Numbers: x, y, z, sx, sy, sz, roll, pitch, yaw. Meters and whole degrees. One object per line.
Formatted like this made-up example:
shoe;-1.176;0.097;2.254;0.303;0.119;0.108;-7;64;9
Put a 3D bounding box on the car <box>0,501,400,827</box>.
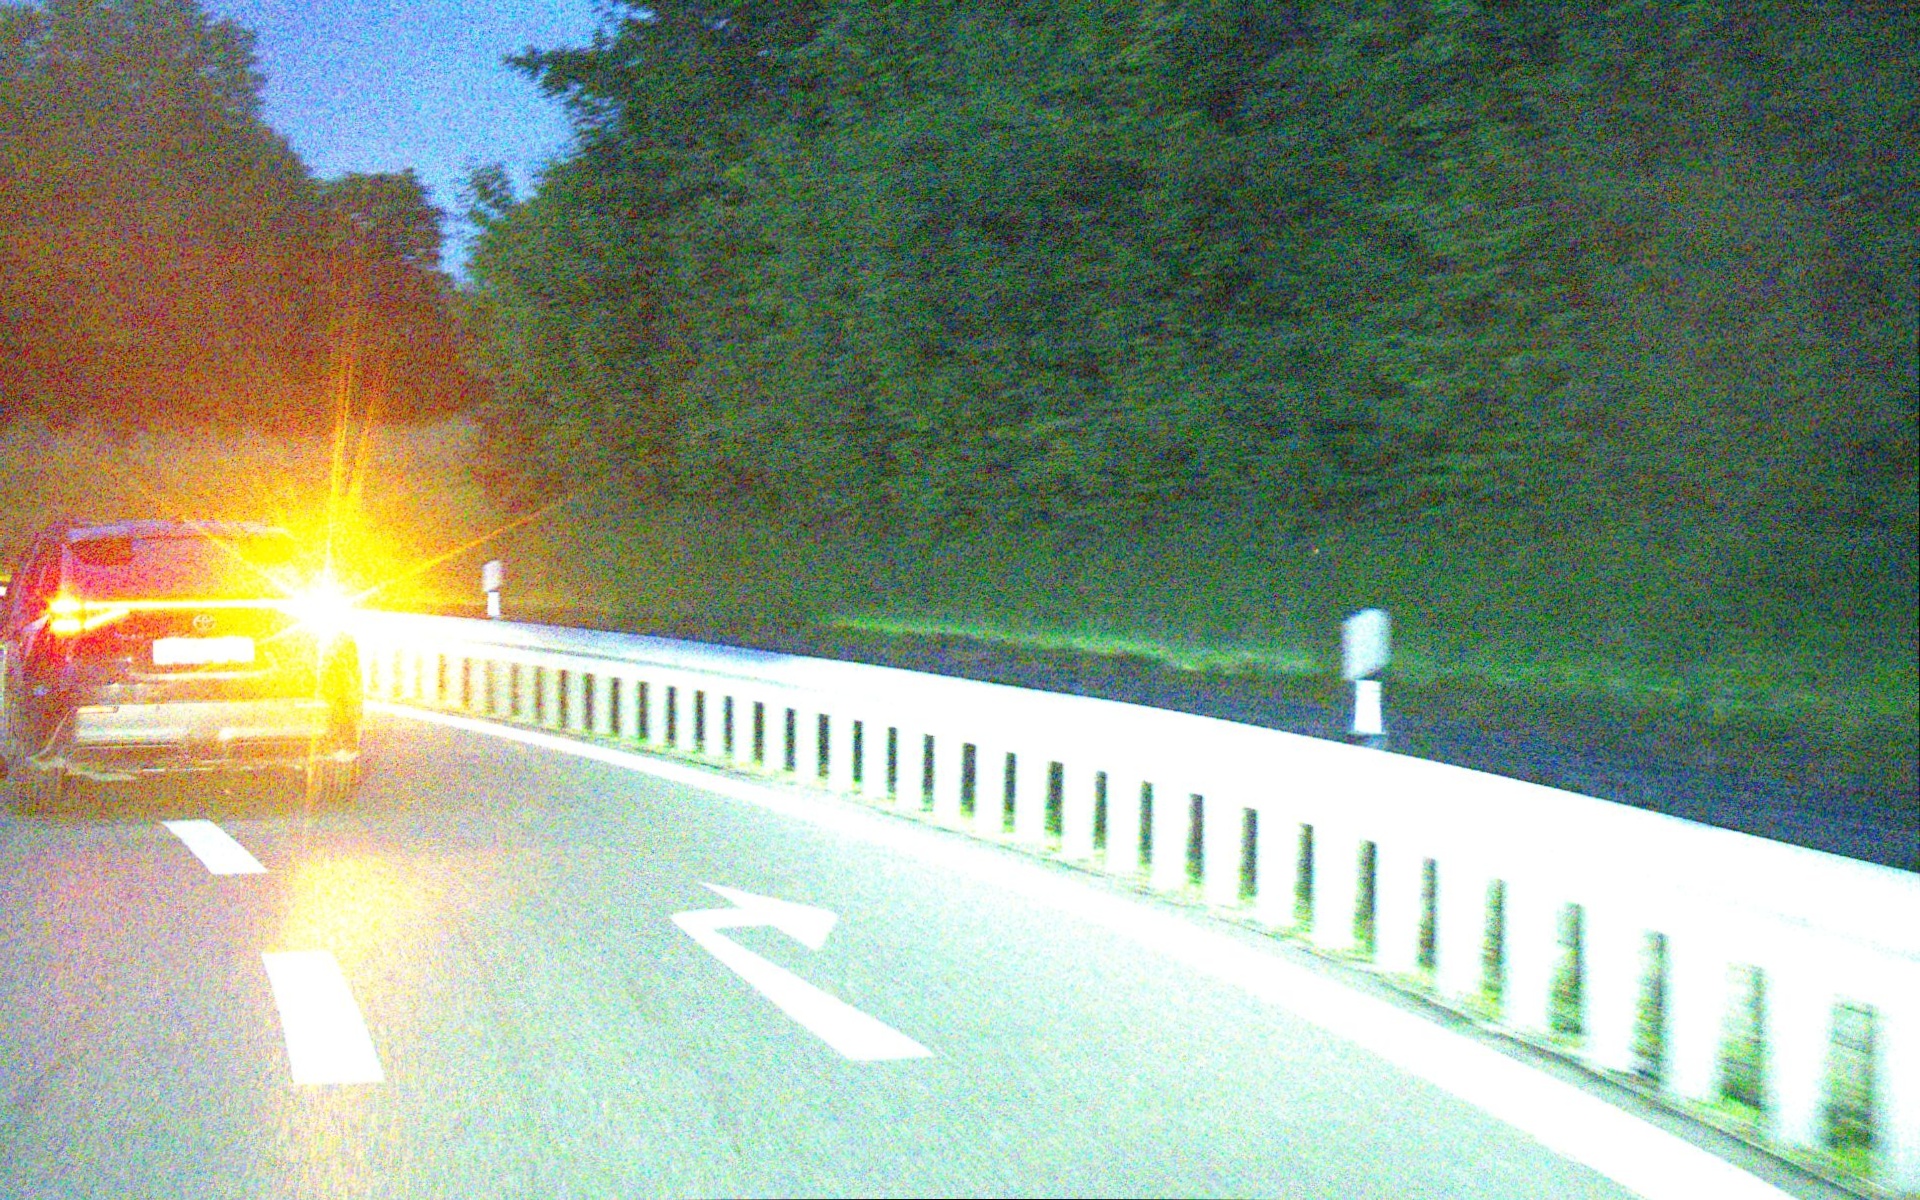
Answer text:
car;-4.611;0.302;19.920;1.993;1.653;4.316;2;1;-18
